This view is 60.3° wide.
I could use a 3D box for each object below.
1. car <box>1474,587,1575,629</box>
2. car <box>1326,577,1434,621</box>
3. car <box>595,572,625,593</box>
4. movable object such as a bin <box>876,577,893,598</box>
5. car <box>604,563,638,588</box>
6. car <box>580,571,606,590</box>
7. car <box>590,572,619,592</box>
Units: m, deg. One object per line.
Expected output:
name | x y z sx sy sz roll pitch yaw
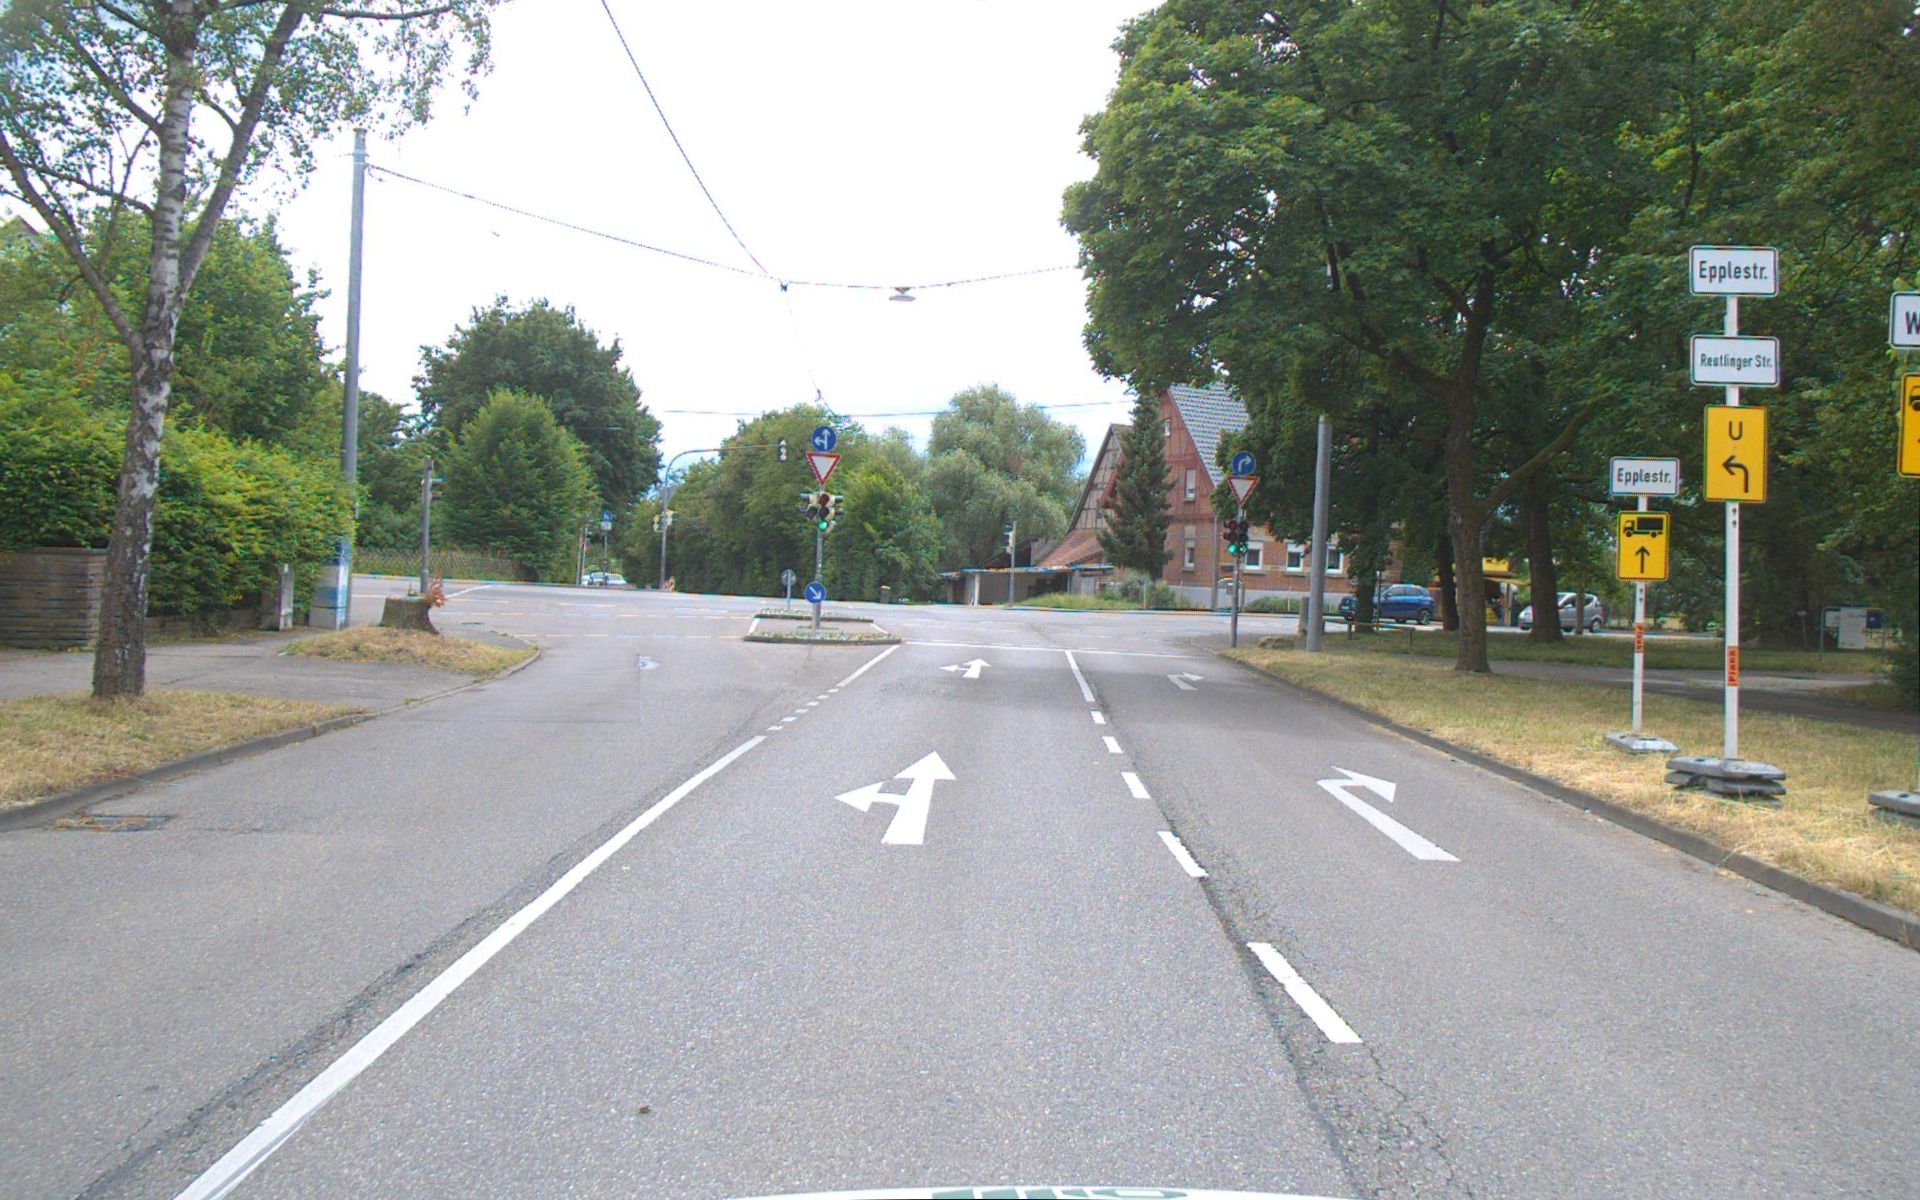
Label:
car | 22.750 0.307 66.710 3.415 1.557 1.986 1 1 -24
car | 17.110 -0.044 67.362 3.785 1.676 1.990 2 1 -18
car | -24.702 -1.256 116.642 1.765 1.434 3.982 2 1 -17
movable object such as a bin | -3.720 -0.599 81.063 0.625 1.019 0.579 2 -1 -26
car | -22.306 -1.640 108.729 1.765 1.538 3.982 2 1 -17
car | -29.693 -1.601 133.658 1.765 1.434 3.982 2 1 -17
car | -26.217 -1.330 121.798 1.765 1.434 3.982 2 1 -17
